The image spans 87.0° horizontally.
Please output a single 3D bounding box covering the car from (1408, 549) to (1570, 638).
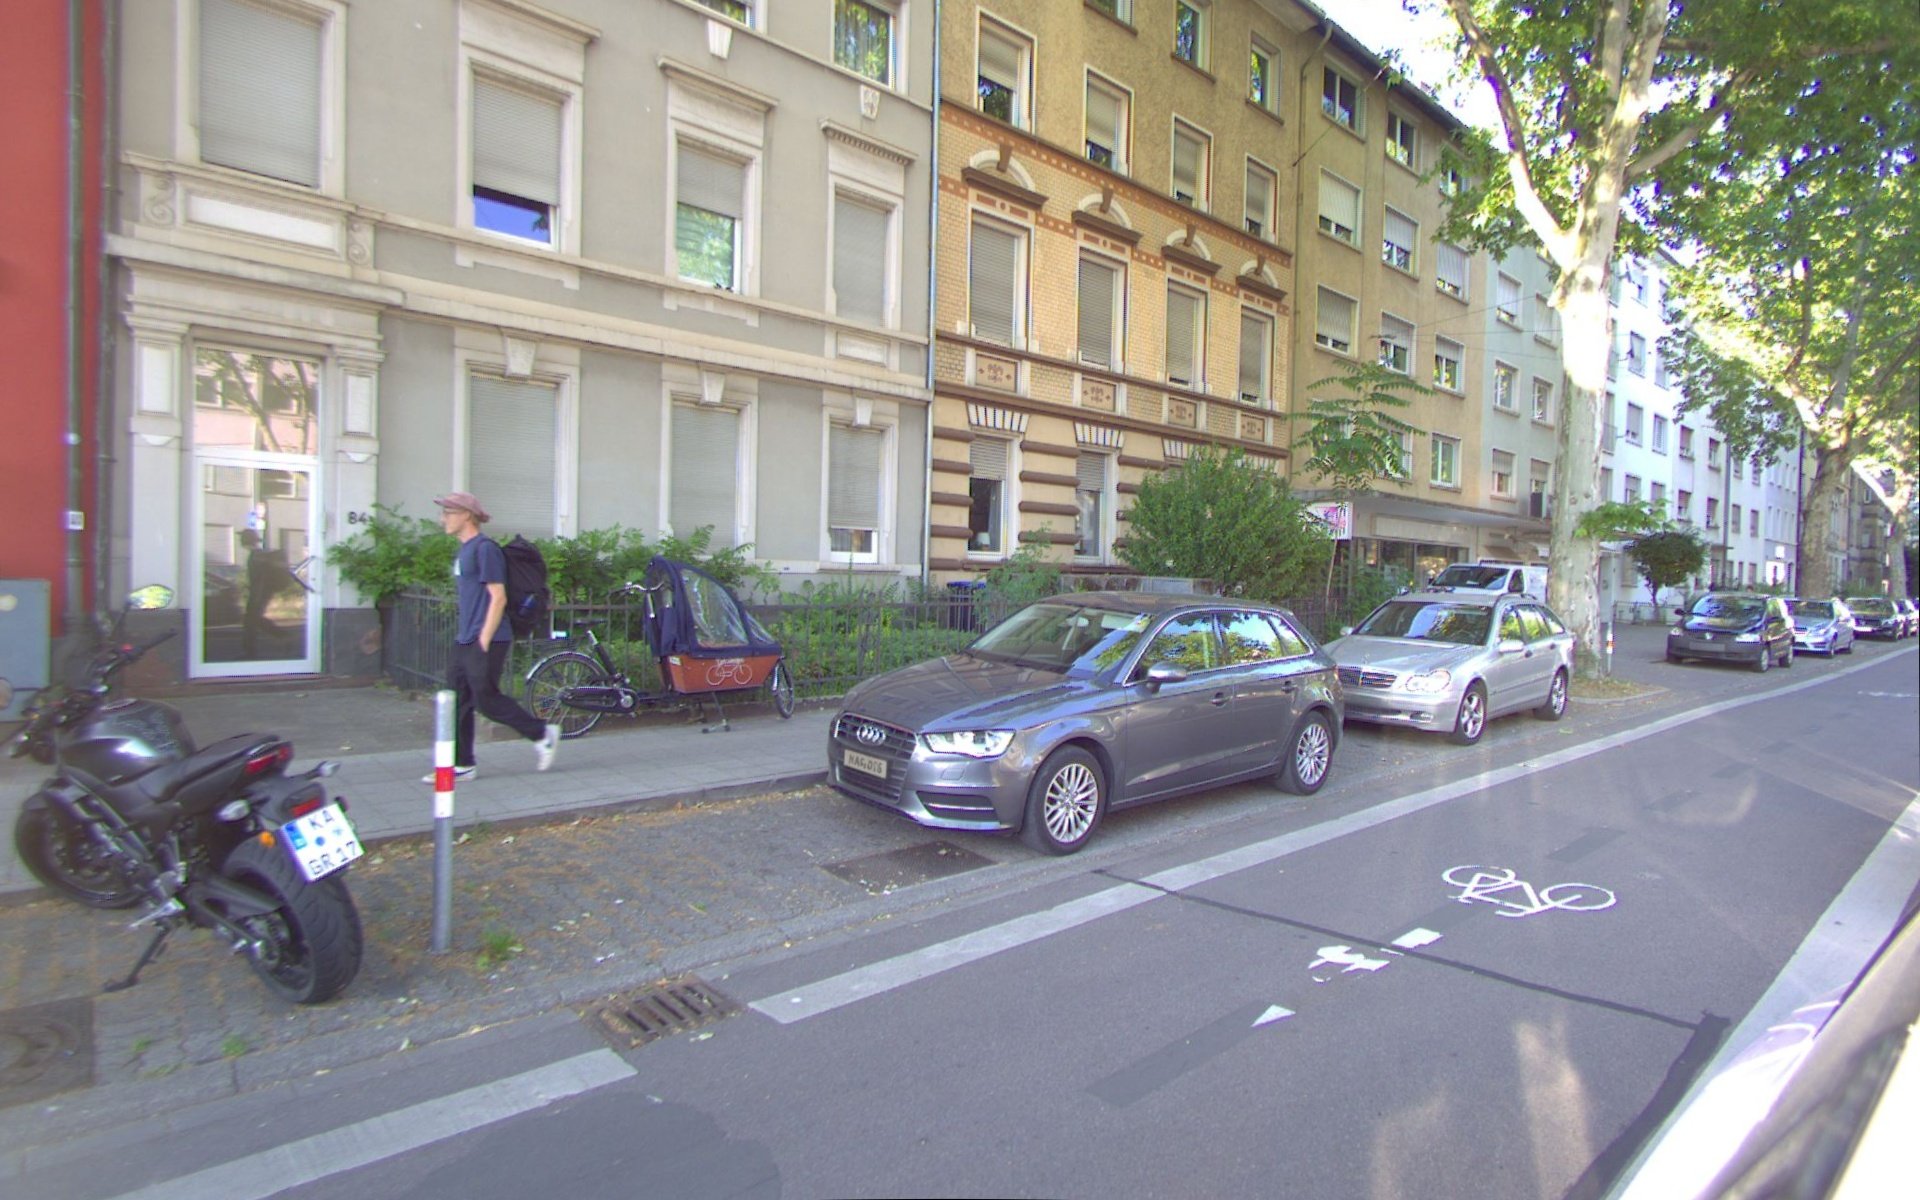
[{"bbox_3d":[12.936,-0.189,24.627,4.597,1.897,1.932,-1,4,-42],"label":"car"}]

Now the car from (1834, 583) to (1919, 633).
[{"bbox_3d":[31.640,0.229,34.797,4.295,1.520,1.802,-1,4,-42],"label":"car"}]

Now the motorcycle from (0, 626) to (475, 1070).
[{"bbox_3d":[-2.875,0.754,3.713,2.188,1.124,0.659,4,2,23],"label":"motorcycle"}]

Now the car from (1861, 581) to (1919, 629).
[{"bbox_3d":[35.570,0.160,38.211,4.295,1.628,1.802,-1,4,-42],"label":"car"}]

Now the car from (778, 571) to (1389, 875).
[{"bbox_3d":[1.074,0.578,7.103,4.294,1.418,1.802,0,4,-41],"label":"car"}]

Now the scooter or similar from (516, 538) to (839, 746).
[{"bbox_3d":[-2.229,0.278,8.301,2.500,1.488,0.666,0,2,-41],"label":"scooter or similar"}]

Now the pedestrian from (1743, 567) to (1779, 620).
[{"bbox_3d":[24.724,-0.211,31.234,0.689,1.600,0.728,-1,2,-41],"label":"pedestrian"}]

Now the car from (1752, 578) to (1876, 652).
[{"bbox_3d":[21.959,0.322,25.969,4.295,1.628,1.802,-1,4,-42],"label":"car"}]

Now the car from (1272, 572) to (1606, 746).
[{"bbox_3d":[5.473,0.495,11.281,4.436,1.472,1.801,-1,5,-43],"label":"car"}]

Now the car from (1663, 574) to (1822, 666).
[{"bbox_3d":[16.296,0.335,20.993,4.295,1.628,1.802,-1,4,-42],"label":"car"}]

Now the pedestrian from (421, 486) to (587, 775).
[{"bbox_3d":[-2.970,0.151,6.584,0.802,1.731,0.728,-1,5,-41],"label":"pedestrian"}]

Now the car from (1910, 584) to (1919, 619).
[{"bbox_3d":[46.852,0.103,48.272,4.035,1.628,1.802,-1,4,-42],"label":"car"}]
